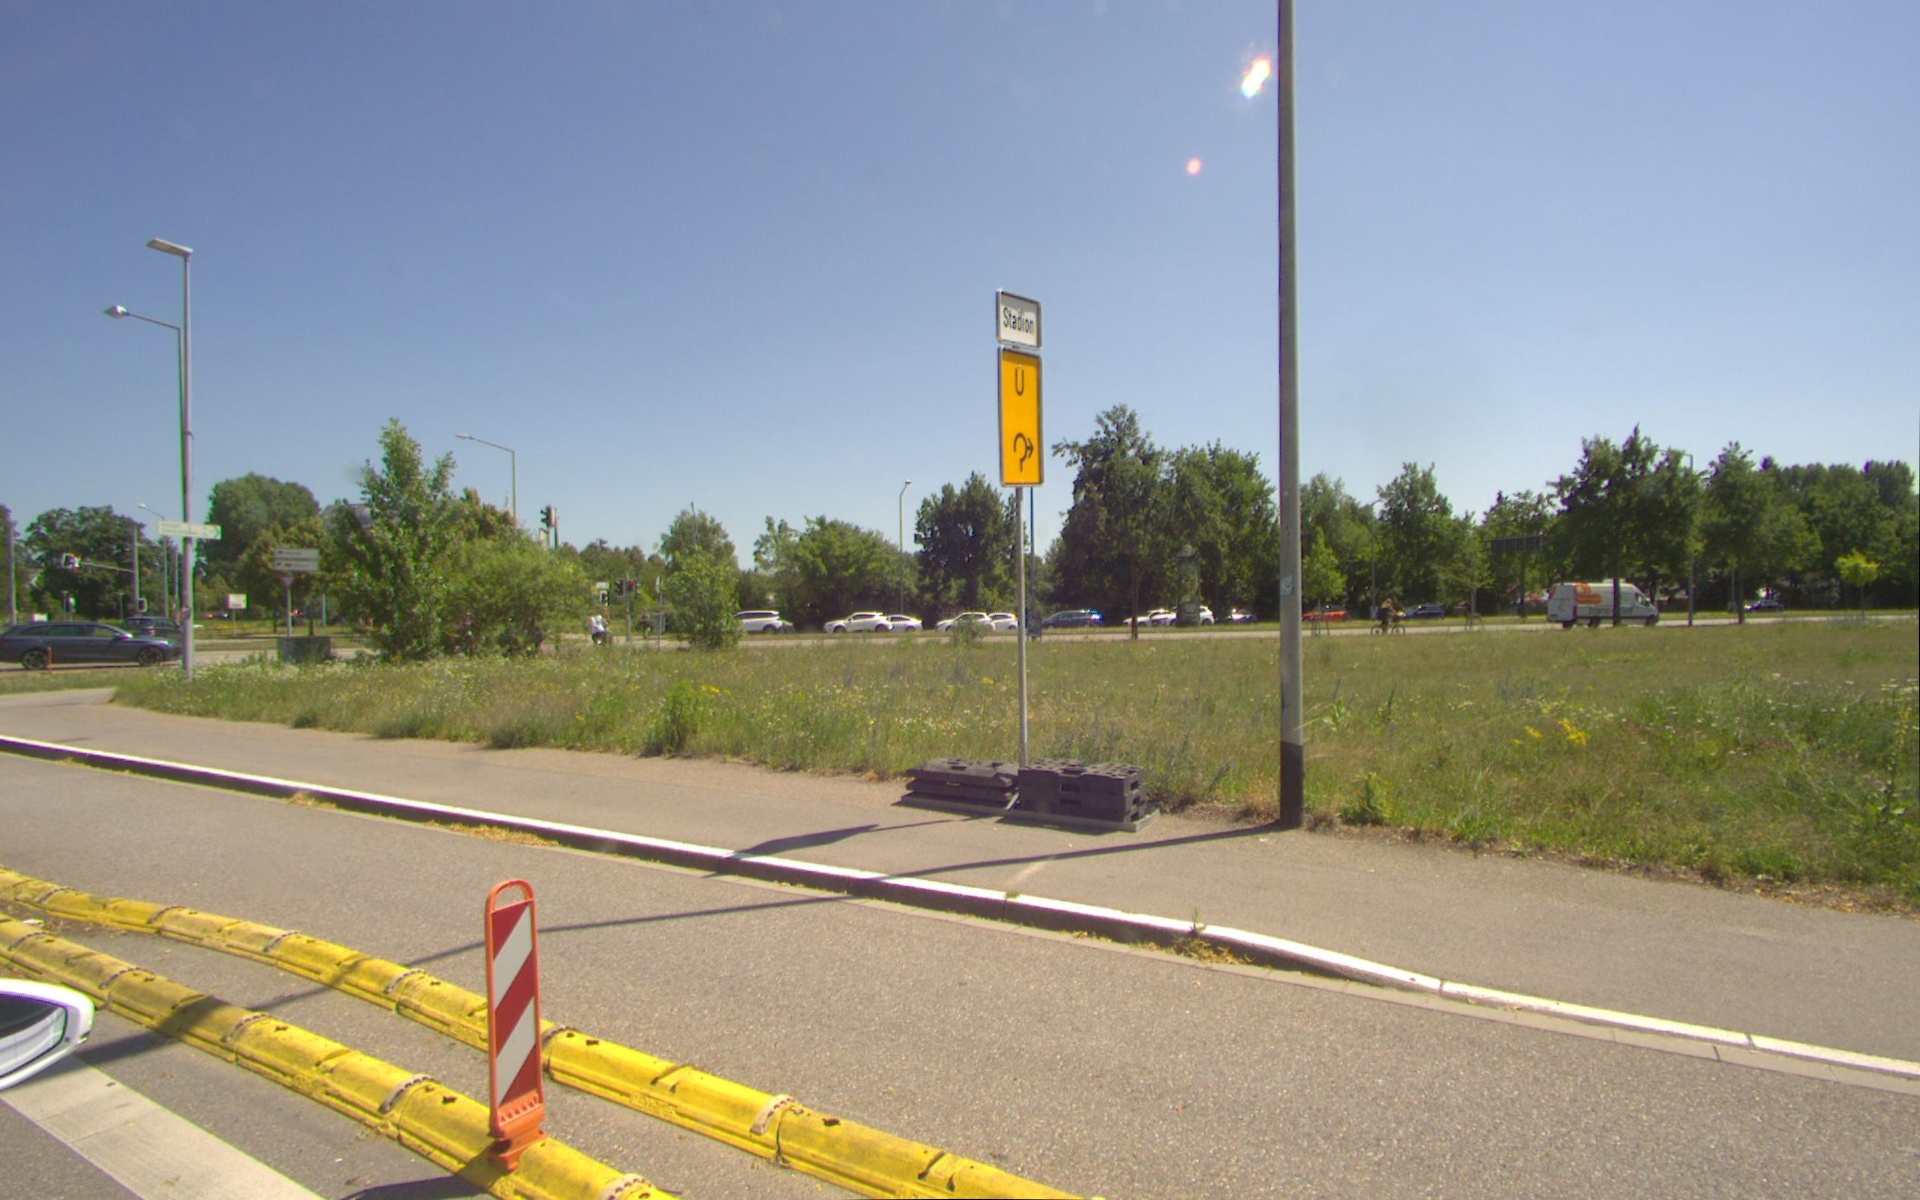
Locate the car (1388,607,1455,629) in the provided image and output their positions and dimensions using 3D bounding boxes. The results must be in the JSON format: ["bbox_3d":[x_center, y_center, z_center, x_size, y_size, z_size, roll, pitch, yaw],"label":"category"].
[{"bbox_3d":[34.384,1.340,74.621,4.366,1.612,1.846,0,-2,-16],"label":"car"}]

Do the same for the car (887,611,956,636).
[{"bbox_3d":[-2.579,1.567,66.863,4.366,1.612,1.846,0,-2,-16],"label":"car"}]

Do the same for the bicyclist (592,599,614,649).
[{"bbox_3d":[-13.314,0.905,37.374,0.597,1.864,0.572,0,-1,2],"label":"bicyclist"}]

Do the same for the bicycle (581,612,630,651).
[{"bbox_3d":[-13.172,1.182,37.274,0.628,1.370,2.896,0,-2,4],"label":"bicycle"}]

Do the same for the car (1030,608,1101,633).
[{"bbox_3d":[6.993,1.369,66.577,4.366,1.612,1.846,0,-2,-16],"label":"car"}]

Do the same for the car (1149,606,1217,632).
[{"bbox_3d":[14.704,1.282,66.042,4.384,1.612,1.838,1,-2,-32],"label":"car"}]

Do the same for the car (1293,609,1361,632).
[{"bbox_3d":[26.629,1.493,72.688,4.337,1.612,1.846,0,-2,-16],"label":"car"}]

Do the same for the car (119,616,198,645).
[{"bbox_3d":[-37.017,1.410,46.310,1.411,1.275,3.217,0,-2,-8],"label":"car"}]

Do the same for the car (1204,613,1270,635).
[{"bbox_3d":[20.440,1.768,73.844,4.366,1.612,1.846,0,-2,-16],"label":"car"}]

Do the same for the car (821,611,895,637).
[{"bbox_3d":[-6.404,1.533,62.874,4.366,1.612,1.846,0,-2,-16],"label":"car"}]

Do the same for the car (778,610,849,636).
[{"bbox_3d":[-9.472,1.507,64.769,4.366,1.612,1.846,0,-2,-16],"label":"car"}]

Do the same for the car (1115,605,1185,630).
[{"bbox_3d":[13.001,1.220,68.553,4.366,1.612,1.846,0,-2,-16],"label":"car"}]

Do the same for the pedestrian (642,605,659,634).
[{"bbox_3d":[-18.712,1.184,60.468,0.954,1.681,0.885,0,-1,-16],"label":"pedestrian"}]

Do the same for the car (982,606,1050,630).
[{"bbox_3d":[3.852,1.215,69.202,4.365,1.613,1.845,0,0,-16],"label":"car"}]

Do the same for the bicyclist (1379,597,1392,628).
[{"bbox_3d":[18.665,0.561,43.941,0.349,1.336,0.379,0,-1,-9],"label":"bicyclist"}]

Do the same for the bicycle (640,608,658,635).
[{"bbox_3d":[-18.767,1.312,60.425,0.967,1.617,2.879,0,-2,-16],"label":"bicycle"}]

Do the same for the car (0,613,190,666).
[{"bbox_3d":[-27.229,1.185,31.585,4.496,1.500,2.052,0,0,-43],"label":"car"}]

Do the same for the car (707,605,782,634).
[{"bbox_3d":[-13.026,1.194,60.505,4.366,1.758,1.846,0,-2,-16],"label":"car"}]

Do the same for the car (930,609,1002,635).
[{"bbox_3d":[0.386,1.450,64.853,4.366,1.612,1.846,0,-2,-16],"label":"car"}]

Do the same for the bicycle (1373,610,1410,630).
[{"bbox_3d":[18.962,0.888,44.000,1.564,0.895,0.369,0,-1,-10],"label":"bicycle"}]

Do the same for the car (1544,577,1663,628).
[{"bbox_3d":[37.478,0.196,58.309,6.764,2.864,1.997,0,-1,-18],"label":"car"}]
